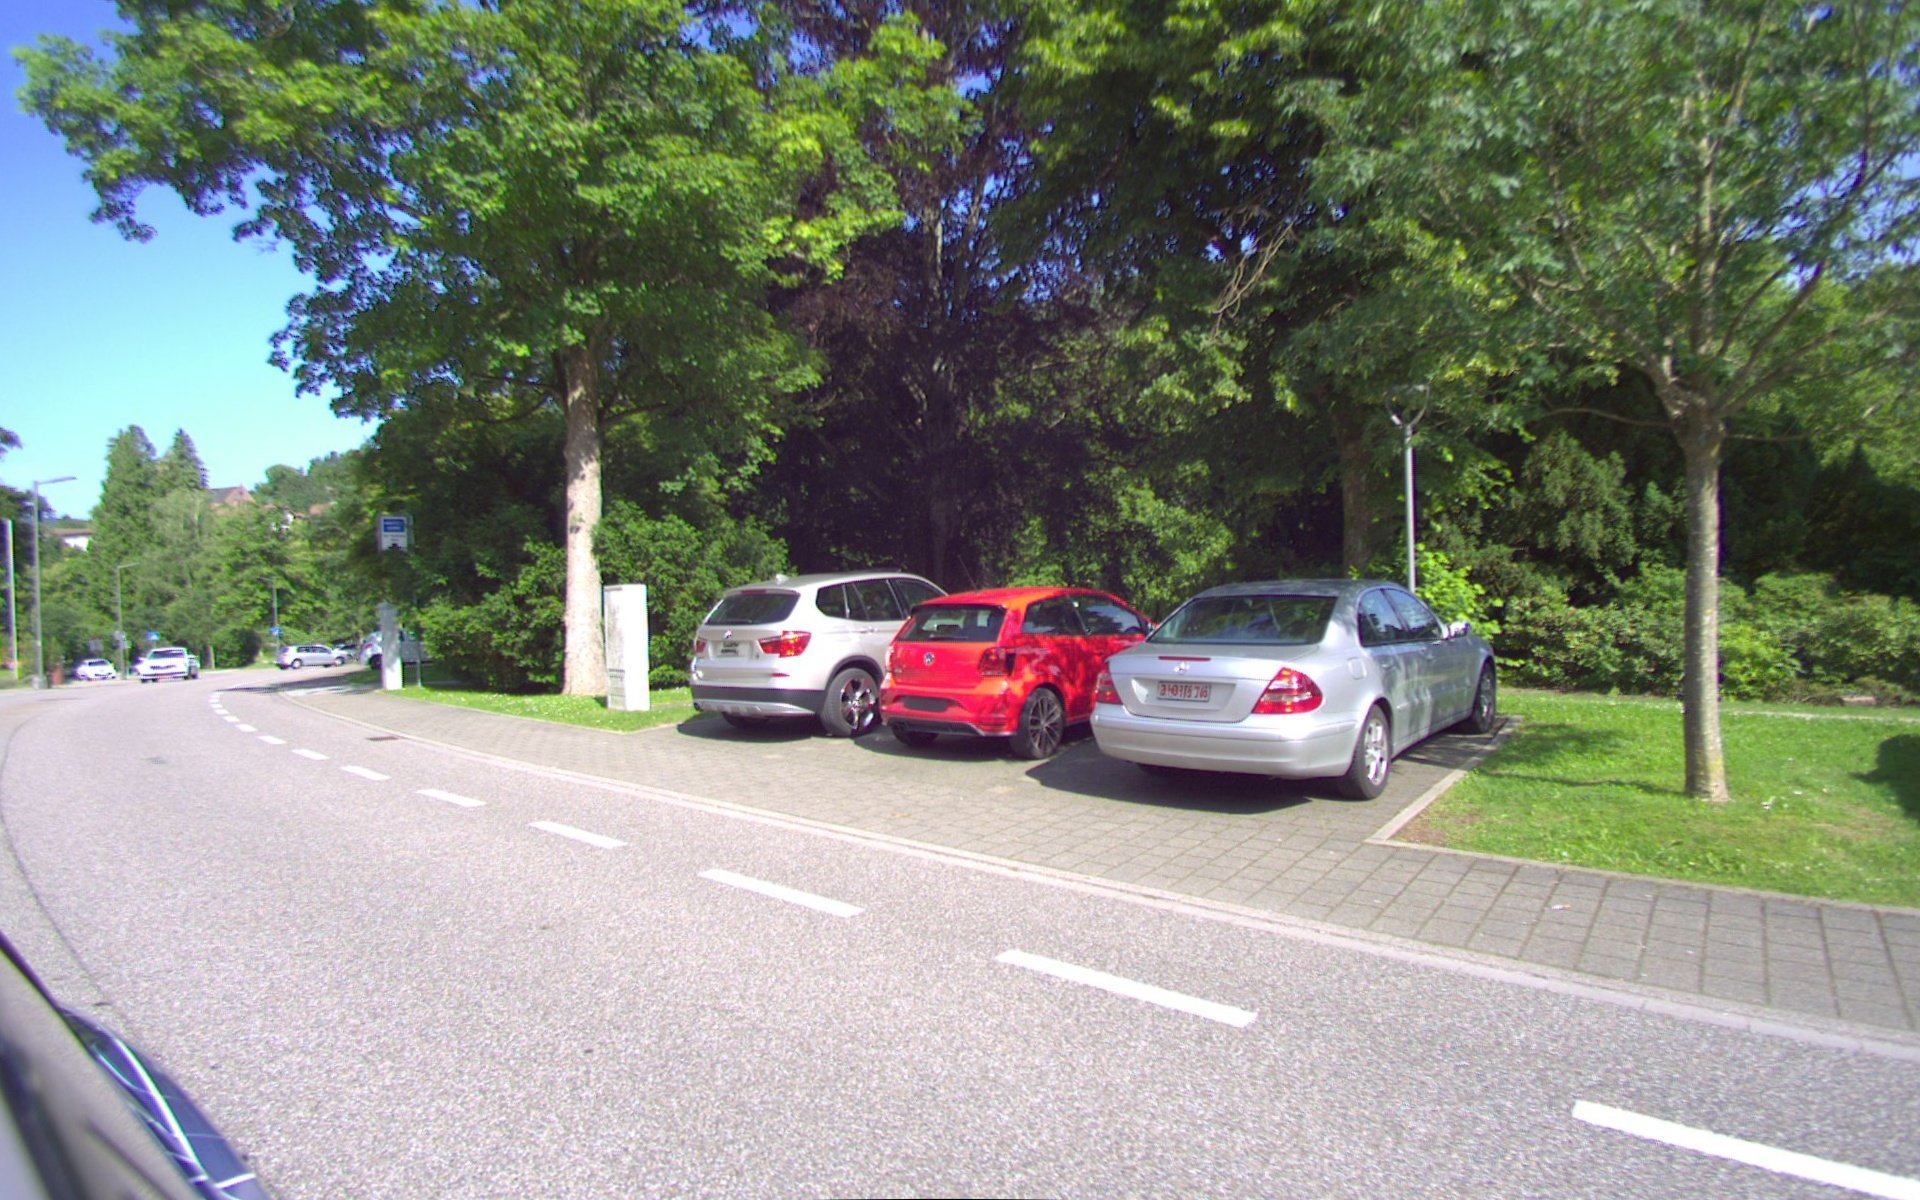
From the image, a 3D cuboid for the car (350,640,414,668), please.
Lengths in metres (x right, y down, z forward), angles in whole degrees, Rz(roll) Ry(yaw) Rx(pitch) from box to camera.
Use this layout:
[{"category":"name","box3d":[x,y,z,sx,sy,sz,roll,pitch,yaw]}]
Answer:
[{"category":"car","box3d":[-36.463,3.385,63.914,3.434,1.436,1.558,-4,-1,-29]}]

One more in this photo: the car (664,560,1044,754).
[{"category":"car","box3d":[-0.988,0.472,11.724,1.807,1.675,4.443,-1,3,37]}]

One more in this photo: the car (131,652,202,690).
[{"category":"car","box3d":[-34.429,3.037,44.015,1.711,1.508,3.941,-1,-2,-27]}]

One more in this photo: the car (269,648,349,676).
[{"category":"car","box3d":[-41.489,3.942,64.556,1.513,1.408,3.953,-5,-1,35]}]

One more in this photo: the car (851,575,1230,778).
[{"category":"car","box3d":[0.977,0.573,9.995,1.719,1.443,3.947,-1,3,40]}]

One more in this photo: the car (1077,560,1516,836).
[{"category":"car","box3d":[2.912,0.493,8.000,1.808,1.428,4.439,0,3,39]}]

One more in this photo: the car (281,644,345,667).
[{"category":"car","box3d":[-50.837,4.317,79.587,1.513,1.488,3.951,-5,-2,37]}]

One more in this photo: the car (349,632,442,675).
[{"category":"car","box3d":[-24.709,2.335,44.389,3.434,1.557,1.448,-4,-1,-29]}]

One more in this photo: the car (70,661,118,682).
[{"category":"car","box3d":[-65.403,5.347,76.430,3.988,1.408,1.722,-1,0,33]}]

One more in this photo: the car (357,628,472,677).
[{"category":"car","box3d":[-20.328,1.937,37.794,3.626,1.498,1.571,-3,-1,-29]}]

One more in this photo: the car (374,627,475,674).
[{"category":"car","box3d":[-21.252,1.994,40.201,3.434,1.564,1.384,-3,-1,-29]}]

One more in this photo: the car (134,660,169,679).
[{"category":"car","box3d":[-68.795,5.905,86.077,4.000,1.516,1.751,-4,-3,43]}]
